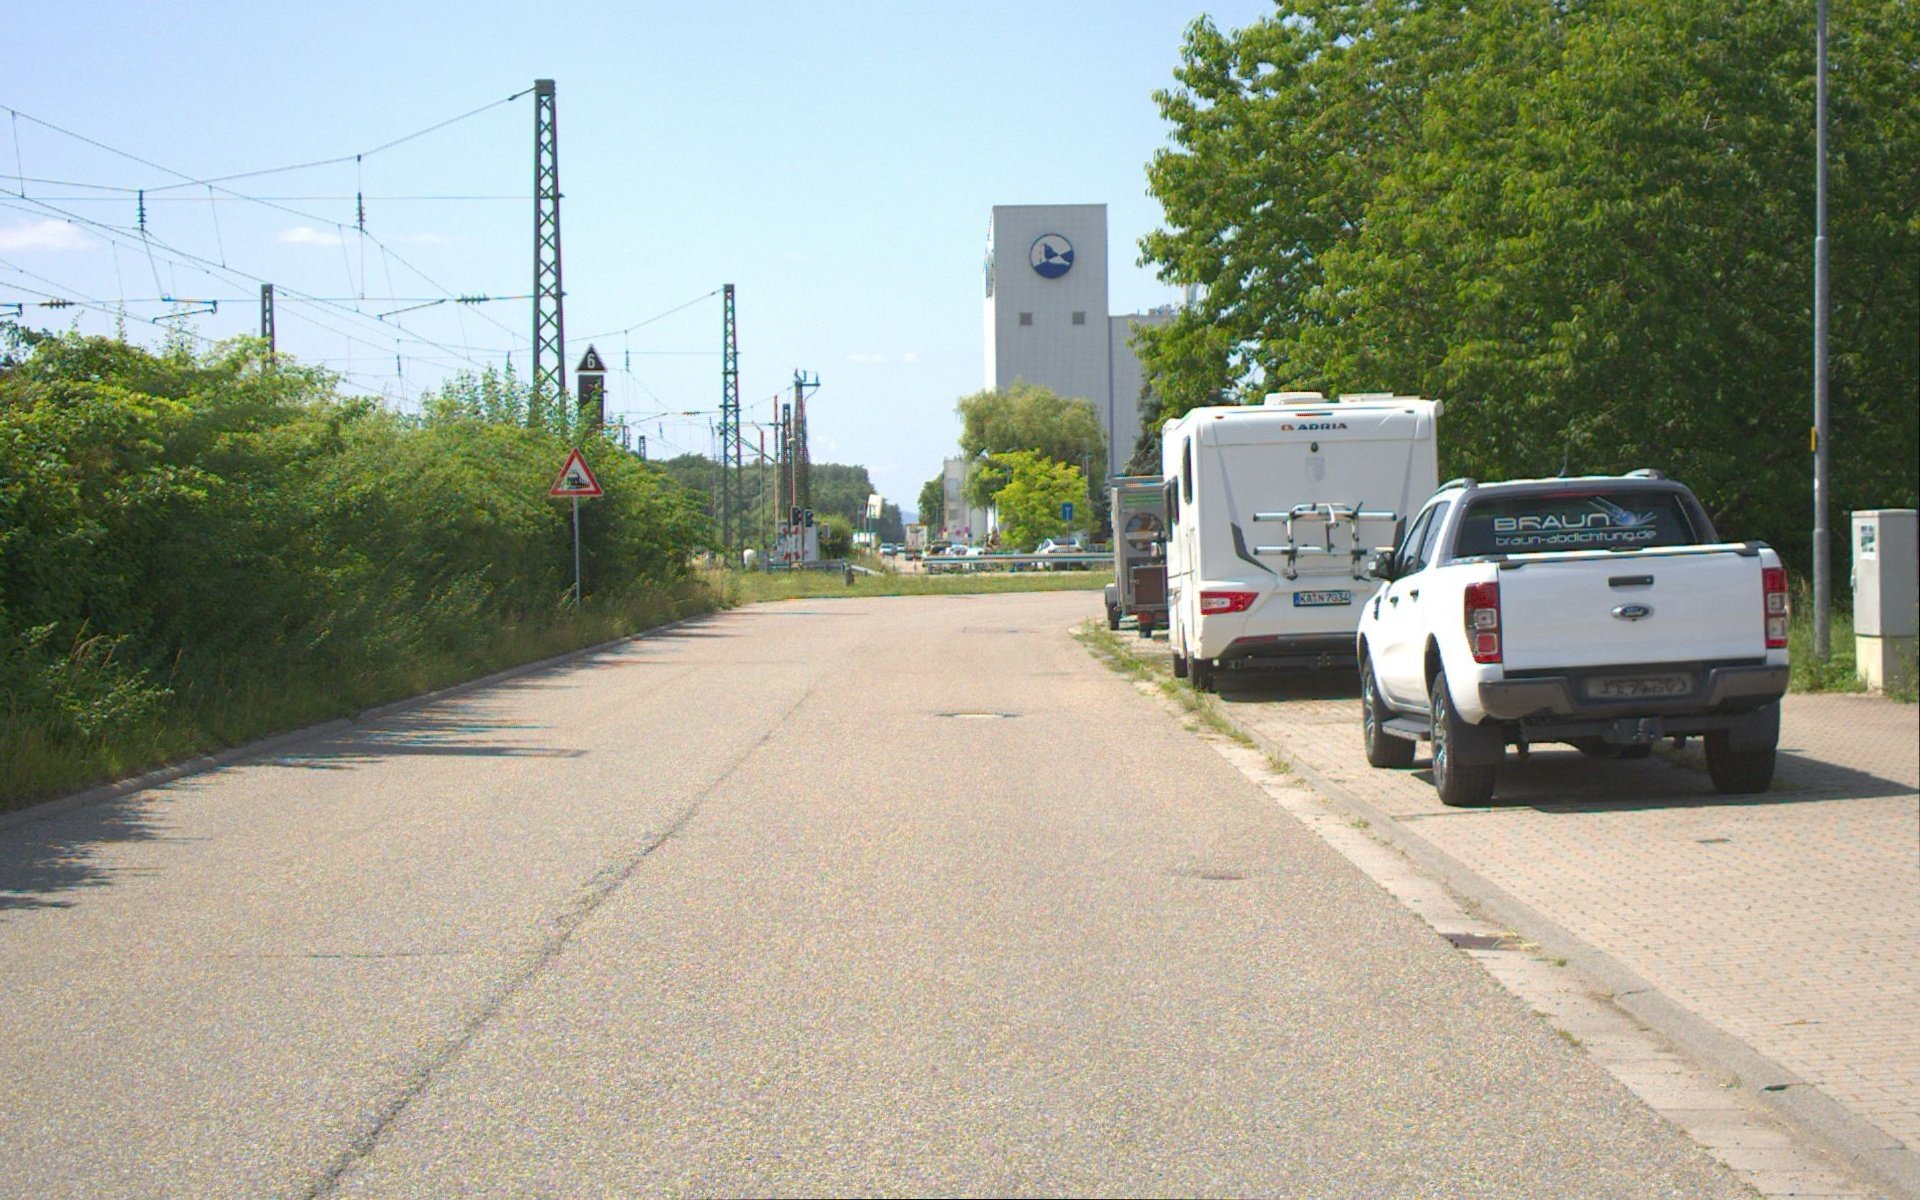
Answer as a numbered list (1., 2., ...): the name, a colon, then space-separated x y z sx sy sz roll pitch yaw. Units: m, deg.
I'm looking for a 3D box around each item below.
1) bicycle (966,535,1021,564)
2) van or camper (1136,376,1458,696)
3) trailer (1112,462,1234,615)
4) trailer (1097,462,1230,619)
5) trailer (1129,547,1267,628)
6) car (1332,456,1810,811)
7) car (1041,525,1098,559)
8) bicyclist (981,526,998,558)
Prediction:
1. bicycle: 1.337 -2.007 136.891 2.143 1.161 0.660 0 2 33
2. van or camper: 3.265 -0.653 35.112 2.439 2.817 7.624 -2 1 0
3. trailer: 4.040 -1.170 64.466 1.933 2.635 5.183 -3 1 6
4. trailer: 3.464 -1.034 59.388 1.919 2.499 4.741 -3 1 0
5. trailer: 3.691 -0.210 53.956 2.005 1.119 4.488 -3 0 3
6. car: 3.506 0.124 20.787 1.847 1.808 5.425 -2 1 0
7. car: 4.998 -2.653 157.401 1.993 1.504 4.455 -1 1 -6
8. bicyclist: 1.181 -2.304 136.975 0.511 1.251 0.468 0 2 33
